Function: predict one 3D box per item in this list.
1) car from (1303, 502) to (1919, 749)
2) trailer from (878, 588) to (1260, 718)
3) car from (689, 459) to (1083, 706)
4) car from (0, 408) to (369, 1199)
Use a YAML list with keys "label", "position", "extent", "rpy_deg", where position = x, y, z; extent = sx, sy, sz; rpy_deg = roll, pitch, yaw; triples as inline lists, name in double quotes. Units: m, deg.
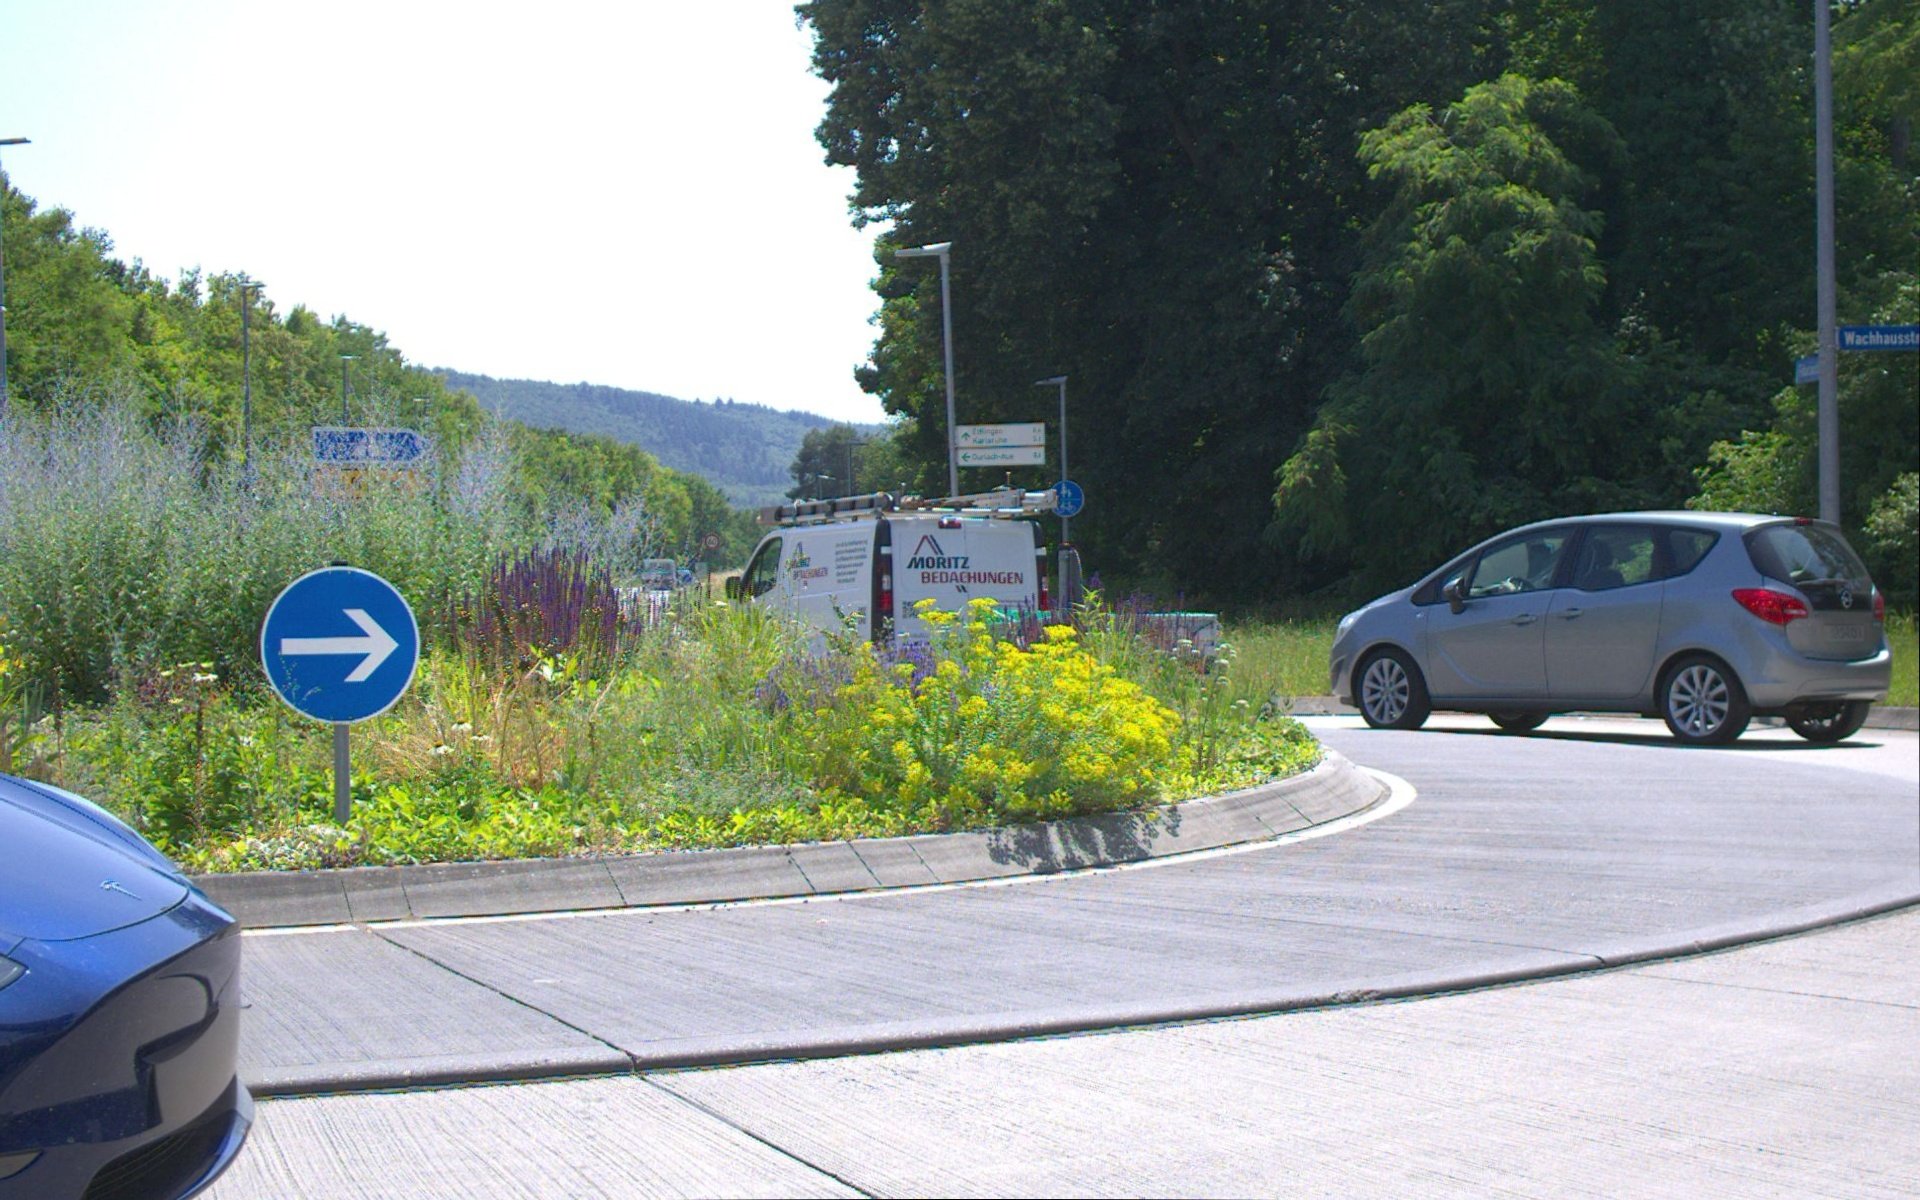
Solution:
- label: "car"
  position: [4.623, 0.155, 24.374]
  extent: [4.124, 1.601, 1.786]
  rpy_deg: [0, 0, 43]
- label: "trailer"
  position: [0.928, 0.442, 31.056]
  extent: [2.121, 1.093, 3.355]
  rpy_deg: [0, 0, -26]
- label: "car"
  position: [-0.852, -0.176, 34.827]
  extent: [2.165, 2.308, 4.982]
  rpy_deg: [0, 0, -25]
- label: "car"
  position: [-3.678, 0.545, 6.309]
  extent: [4.742, 1.634, 2.000]
  rpy_deg: [-1, 1, 5]
